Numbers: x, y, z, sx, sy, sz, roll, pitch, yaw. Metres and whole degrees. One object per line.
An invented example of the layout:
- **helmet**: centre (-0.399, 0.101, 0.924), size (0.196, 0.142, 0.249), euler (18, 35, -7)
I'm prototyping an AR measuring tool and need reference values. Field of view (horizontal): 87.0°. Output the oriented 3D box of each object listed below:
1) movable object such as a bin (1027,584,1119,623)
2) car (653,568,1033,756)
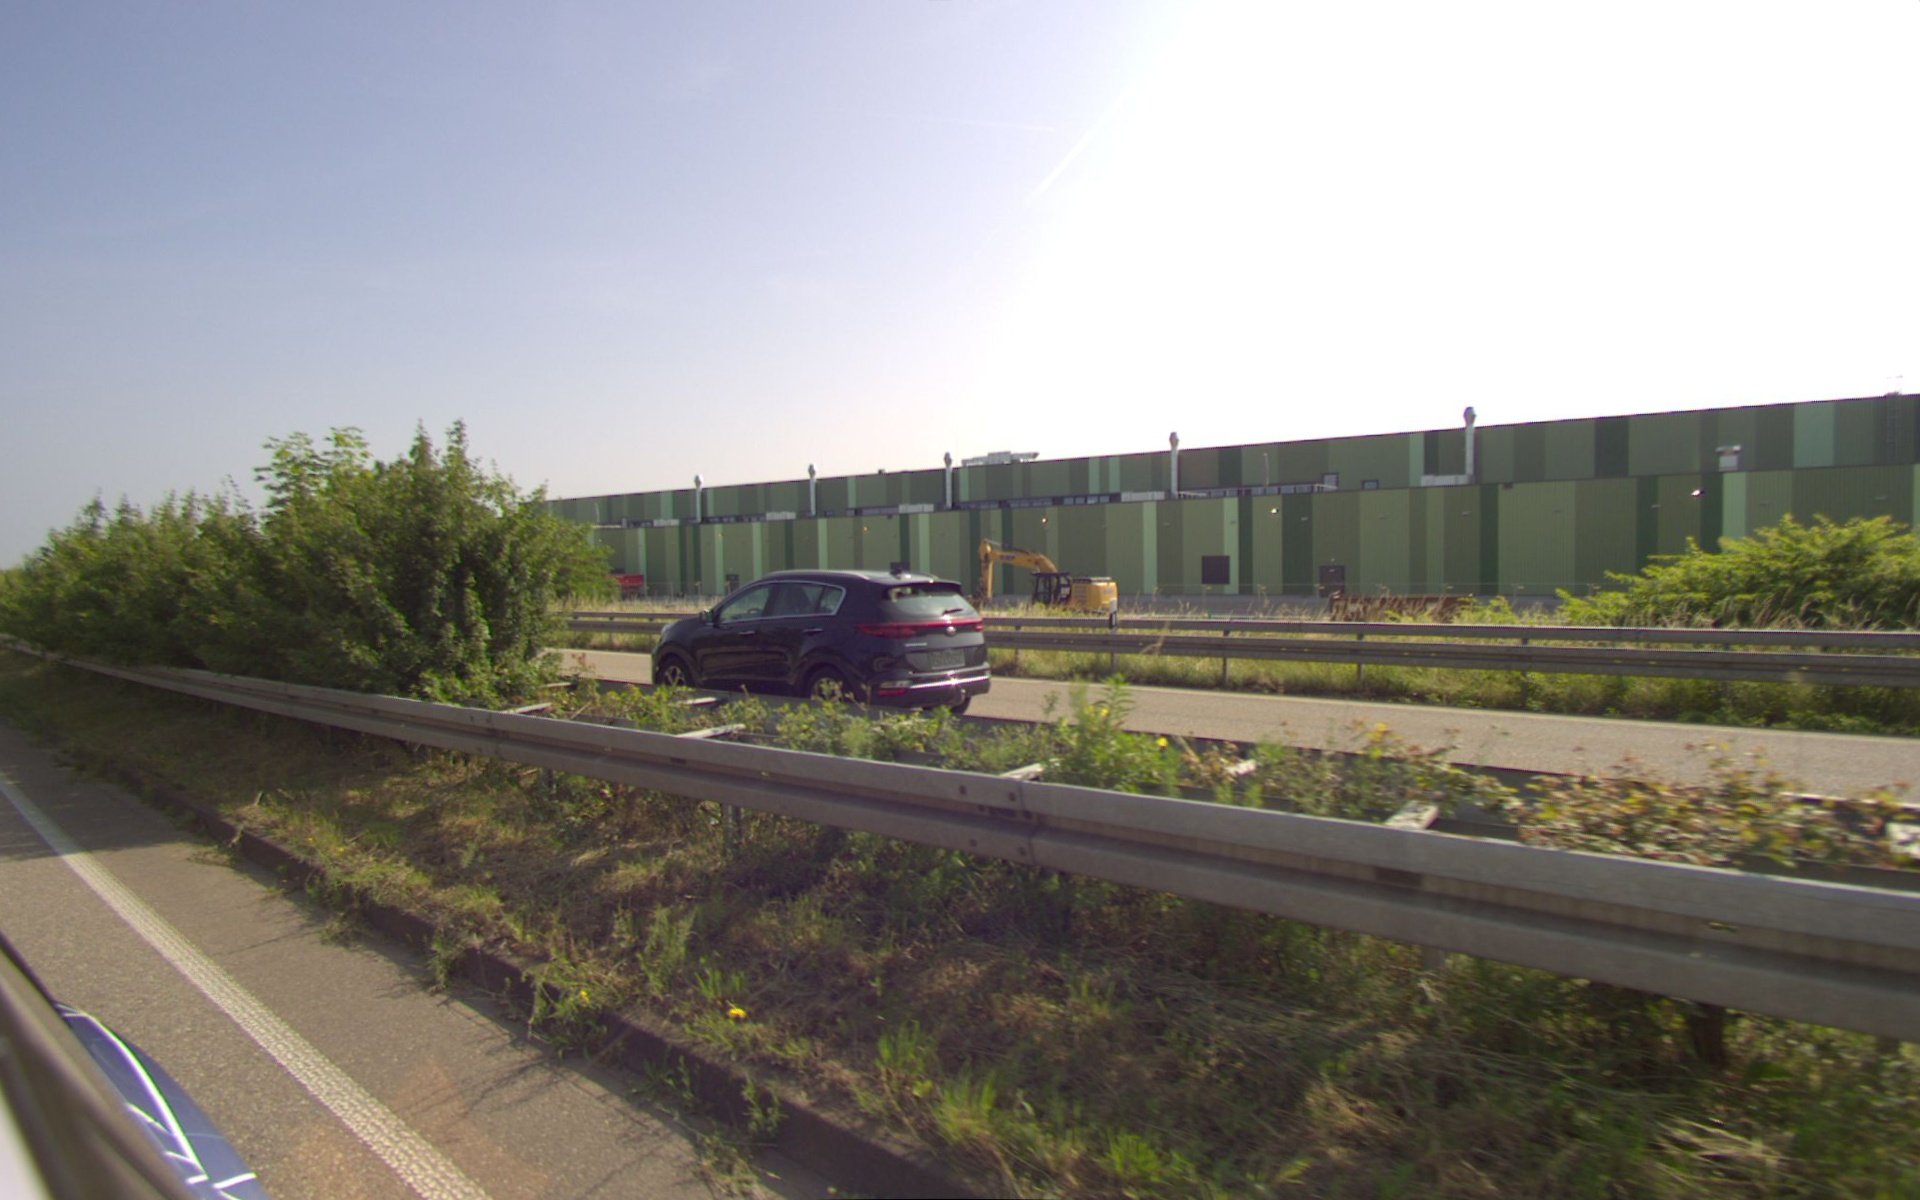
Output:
- **movable object such as a bin**: centre (6.450, 0.160, 57.984), size (4.506, 2.163, 2.708), euler (0, 1, 35)
- **car**: centre (-1.408, 0.551, 10.822), size (4.320, 1.634, 1.576), euler (-1, 0, 42)
